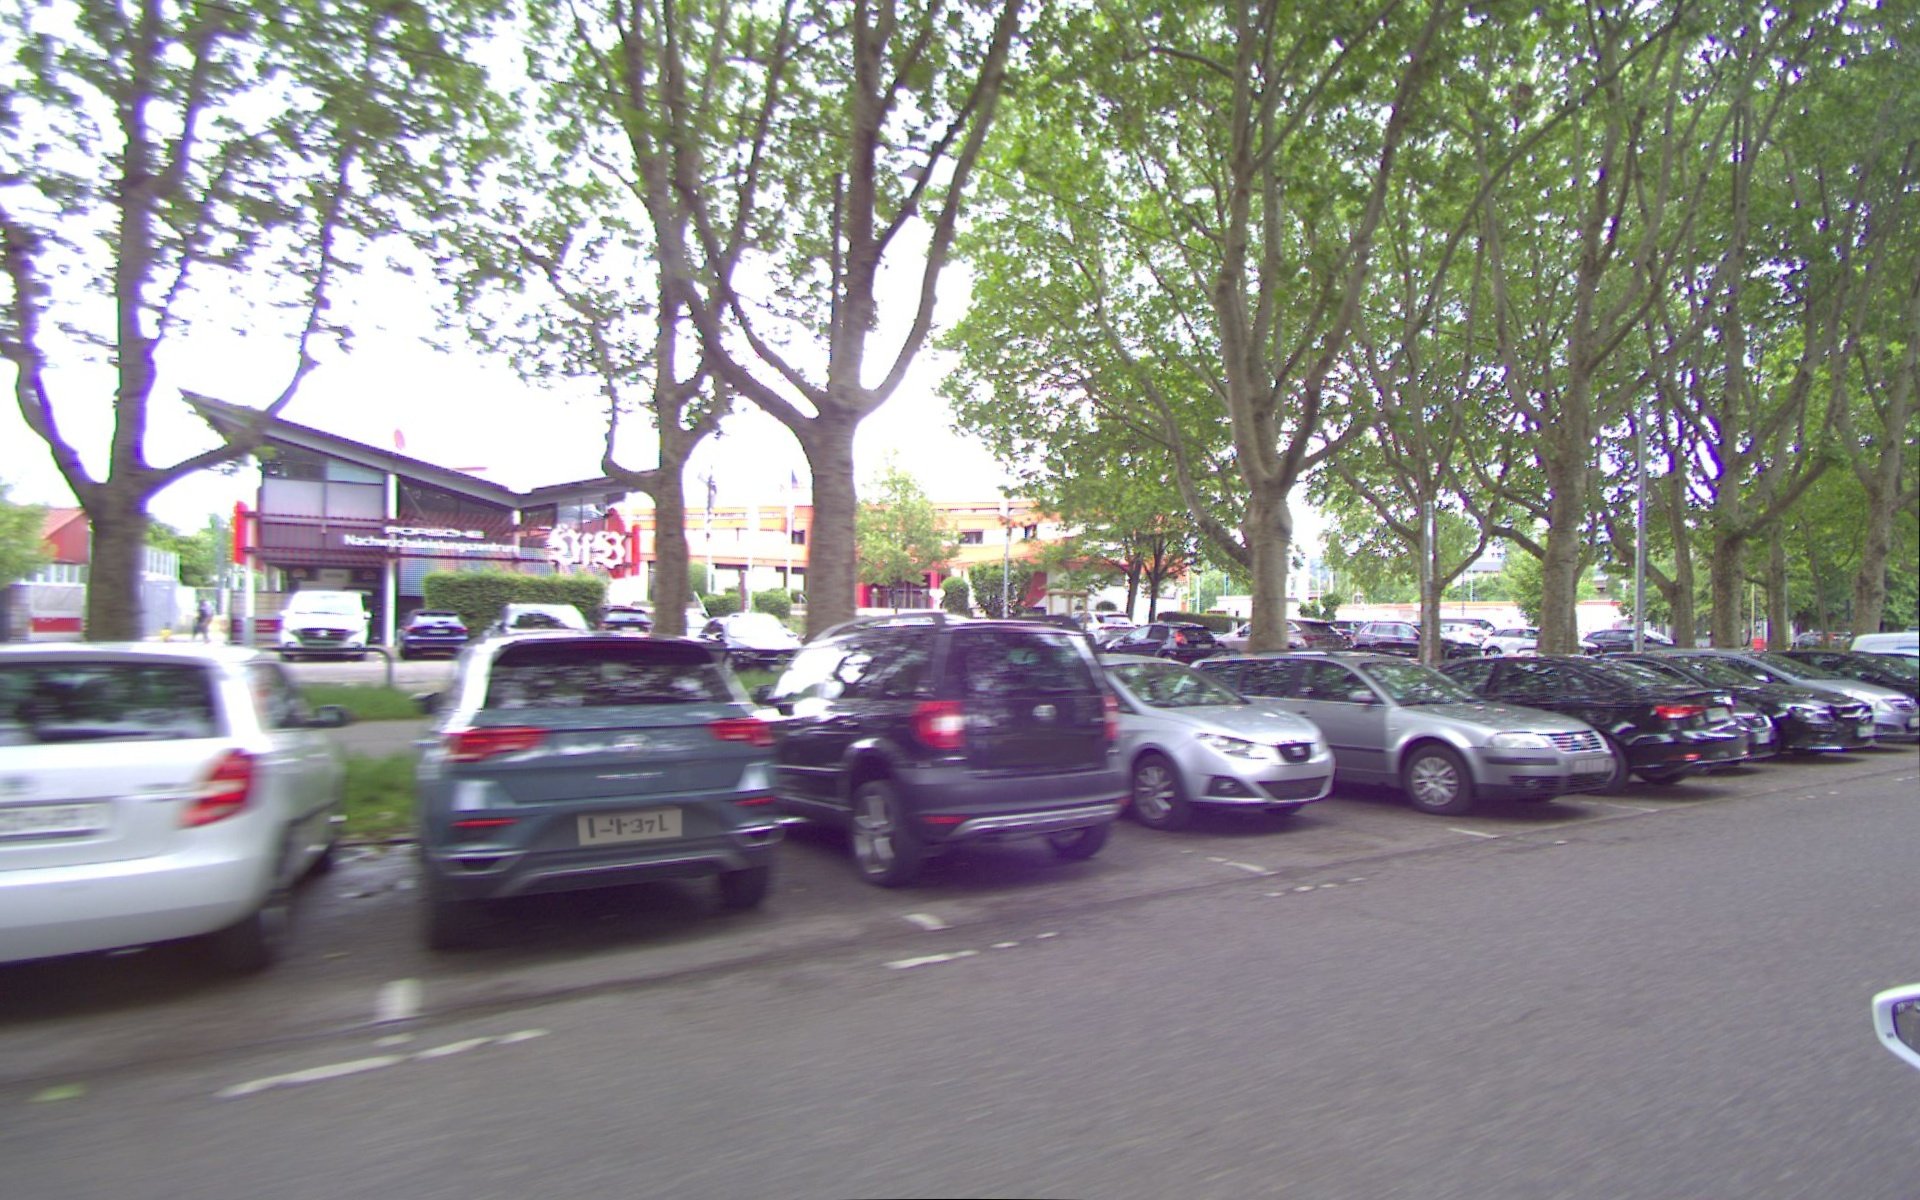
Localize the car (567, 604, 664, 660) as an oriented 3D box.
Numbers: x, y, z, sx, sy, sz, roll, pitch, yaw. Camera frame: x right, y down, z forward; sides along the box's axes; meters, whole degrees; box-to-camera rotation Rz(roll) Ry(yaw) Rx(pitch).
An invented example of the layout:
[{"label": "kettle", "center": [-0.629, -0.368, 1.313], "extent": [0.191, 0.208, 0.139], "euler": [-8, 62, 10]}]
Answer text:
[{"label": "car", "center": [-11.058, 0.994, 32.073], "extent": [1.979, 1.646, 3.963], "euler": [2, -1, -33]}]

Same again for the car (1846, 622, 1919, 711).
[{"label": "car", "center": [21.087, 1.341, 20.398], "extent": [1.848, 1.834, 4.293], "euler": [1, -3, -33]}]

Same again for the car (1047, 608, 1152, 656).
[{"label": "car", "center": [5.791, 1.315, 42.344], "extent": [2.265, 1.880, 4.566], "euler": [2, -1, -24]}]

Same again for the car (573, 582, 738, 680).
[{"label": "car", "center": [-6.637, 0.607, 21.488], "extent": [2.159, 1.820, 4.914], "euler": [2, -1, -32]}]

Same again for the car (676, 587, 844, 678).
[{"label": "car", "center": [-4.684, 0.683, 22.921], "extent": [2.159, 1.820, 4.914], "euler": [2, -1, -32]}]

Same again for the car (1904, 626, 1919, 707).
[{"label": "car", "center": [23.358, 1.538, 21.422], "extent": [2.012, 1.819, 4.298], "euler": [2, -1, -29]}]

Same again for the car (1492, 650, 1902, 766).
[{"label": "car", "center": [10.409, 1.430, 14.610], "extent": [1.878, 1.365, 4.446], "euler": [1, -3, -28]}]

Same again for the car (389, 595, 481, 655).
[{"label": "car", "center": [-15.507, 0.698, 29.564], "extent": [1.979, 1.646, 3.963], "euler": [2, -1, -33]}]

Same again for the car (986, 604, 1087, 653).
[{"label": "car", "center": [3.134, 1.157, 42.051], "extent": [2.265, 1.880, 4.566], "euler": [2, -1, -24]}]

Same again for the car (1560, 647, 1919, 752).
[{"label": "car", "center": [12.224, 1.436, 15.806], "extent": [1.858, 1.387, 4.443], "euler": [1, -3, -30]}]

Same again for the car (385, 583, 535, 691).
[{"label": "car", "center": [-9.871, 0.663, 19.618], "extent": [2.159, 1.820, 4.915], "euler": [1, -1, -32]}]

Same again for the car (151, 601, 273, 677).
[{"label": "car", "center": [-20.013, 0.988, 27.091], "extent": [2.159, 1.820, 4.914], "euler": [2, -1, -32]}]

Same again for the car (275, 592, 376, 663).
[{"label": "car", "center": [-17.734, 0.721, 28.179], "extent": [2.159, 1.820, 4.914], "euler": [2, -1, -32]}]

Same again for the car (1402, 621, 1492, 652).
[{"label": "car", "center": [26.723, 1.992, 55.239], "extent": [1.769, 1.569, 4.196], "euler": [2, -1, -31]}]

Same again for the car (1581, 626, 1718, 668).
[{"label": "car", "center": [29.176, 1.970, 42.629], "extent": [2.178, 1.569, 4.299], "euler": [2, -1, -30]}]

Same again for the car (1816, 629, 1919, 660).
[{"label": "car", "center": [51.312, 2.496, 56.788], "extent": [1.978, 1.543, 3.969], "euler": [2, -1, -29]}]

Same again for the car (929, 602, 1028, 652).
[{"label": "car", "center": [0.686, 1.072, 40.960], "extent": [2.265, 1.880, 4.566], "euler": [2, -1, -24]}]

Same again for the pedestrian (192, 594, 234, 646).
[{"label": "pedestrian", "center": [-24.729, 0.666, 33.277], "extent": [0.976, 1.679, 0.835], "euler": [2, -1, -30]}]

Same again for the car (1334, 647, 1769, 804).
[{"label": "car", "center": [6.410, 1.248, 11.343], "extent": [1.684, 1.416, 3.911], "euler": [1, -3, -31]}]

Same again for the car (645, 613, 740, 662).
[{"label": "car", "center": [-8.886, 1.198, 33.121], "extent": [1.978, 1.446, 3.966], "euler": [2, -1, -31]}]

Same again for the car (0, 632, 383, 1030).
[{"label": "car", "center": [-4.426, 0.954, 5.646], "extent": [1.680, 1.505, 3.982], "euler": [1, -3, -25]}]

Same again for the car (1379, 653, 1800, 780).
[{"label": "car", "center": [8.146, 1.418, 13.490], "extent": [1.838, 1.384, 4.442], "euler": [1, -3, -31]}]

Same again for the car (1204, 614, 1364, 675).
[{"label": "car", "center": [10.323, 1.372, 32.345], "extent": [2.270, 1.748, 4.529], "euler": [2, -1, -30]}]

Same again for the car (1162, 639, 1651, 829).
[{"label": "car", "center": [4.219, 1.162, 10.315], "extent": [1.684, 1.501, 4.441], "euler": [1, -3, -31]}]

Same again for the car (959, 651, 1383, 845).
[{"label": "car", "center": [1.754, 1.202, 9.580], "extent": [1.806, 1.382, 3.911], "euler": [1, -3, -31]}]

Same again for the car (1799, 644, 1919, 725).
[{"label": "car", "center": [18.677, 1.599, 19.236], "extent": [1.750, 1.491, 3.751], "euler": [2, -3, -40]}]

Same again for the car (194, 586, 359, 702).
[{"label": "car", "center": [-12.289, 0.710, 18.333], "extent": [2.159, 1.820, 4.914], "euler": [2, -1, -32]}]

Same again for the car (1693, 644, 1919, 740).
[{"label": "car", "center": [14.632, 1.444, 16.371], "extent": [1.732, 1.439, 3.966], "euler": [1, -3, -26]}]

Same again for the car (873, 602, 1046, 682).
[{"label": "car", "center": [-0.149, 1.008, 25.578], "extent": [2.159, 1.820, 4.915], "euler": [1, -1, -32]}]

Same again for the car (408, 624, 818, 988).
[{"label": "car", "center": [-2.454, 0.960, 6.395], "extent": [1.708, 1.536, 3.911], "euler": [1, -3, -31]}]

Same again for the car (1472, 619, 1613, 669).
[{"label": "car", "center": [22.747, 1.692, 39.395], "extent": [2.107, 1.732, 4.299], "euler": [2, -1, -30]}]

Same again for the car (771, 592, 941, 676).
[{"label": "car", "center": [-2.659, 0.762, 24.431], "extent": [2.159, 1.820, 4.914], "euler": [2, -1, -32]}]

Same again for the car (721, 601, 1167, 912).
[{"label": "car", "center": [-0.398, 0.959, 7.750], "extent": [1.732, 1.730, 3.911], "euler": [1, -3, -31]}]

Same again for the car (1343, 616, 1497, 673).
[{"label": "car", "center": [16.273, 1.541, 35.777], "extent": [2.270, 1.785, 4.496], "euler": [2, -1, -30]}]

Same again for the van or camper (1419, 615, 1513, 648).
[{"label": "van or camper", "center": [28.581, 1.761, 56.804], "extent": [2.107, 1.732, 4.299], "euler": [2, -1, -30]}]

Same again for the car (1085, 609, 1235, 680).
[{"label": "car", "center": [5.824, 1.252, 29.740], "extent": [2.005, 1.885, 4.299], "euler": [2, -1, -30]}]
